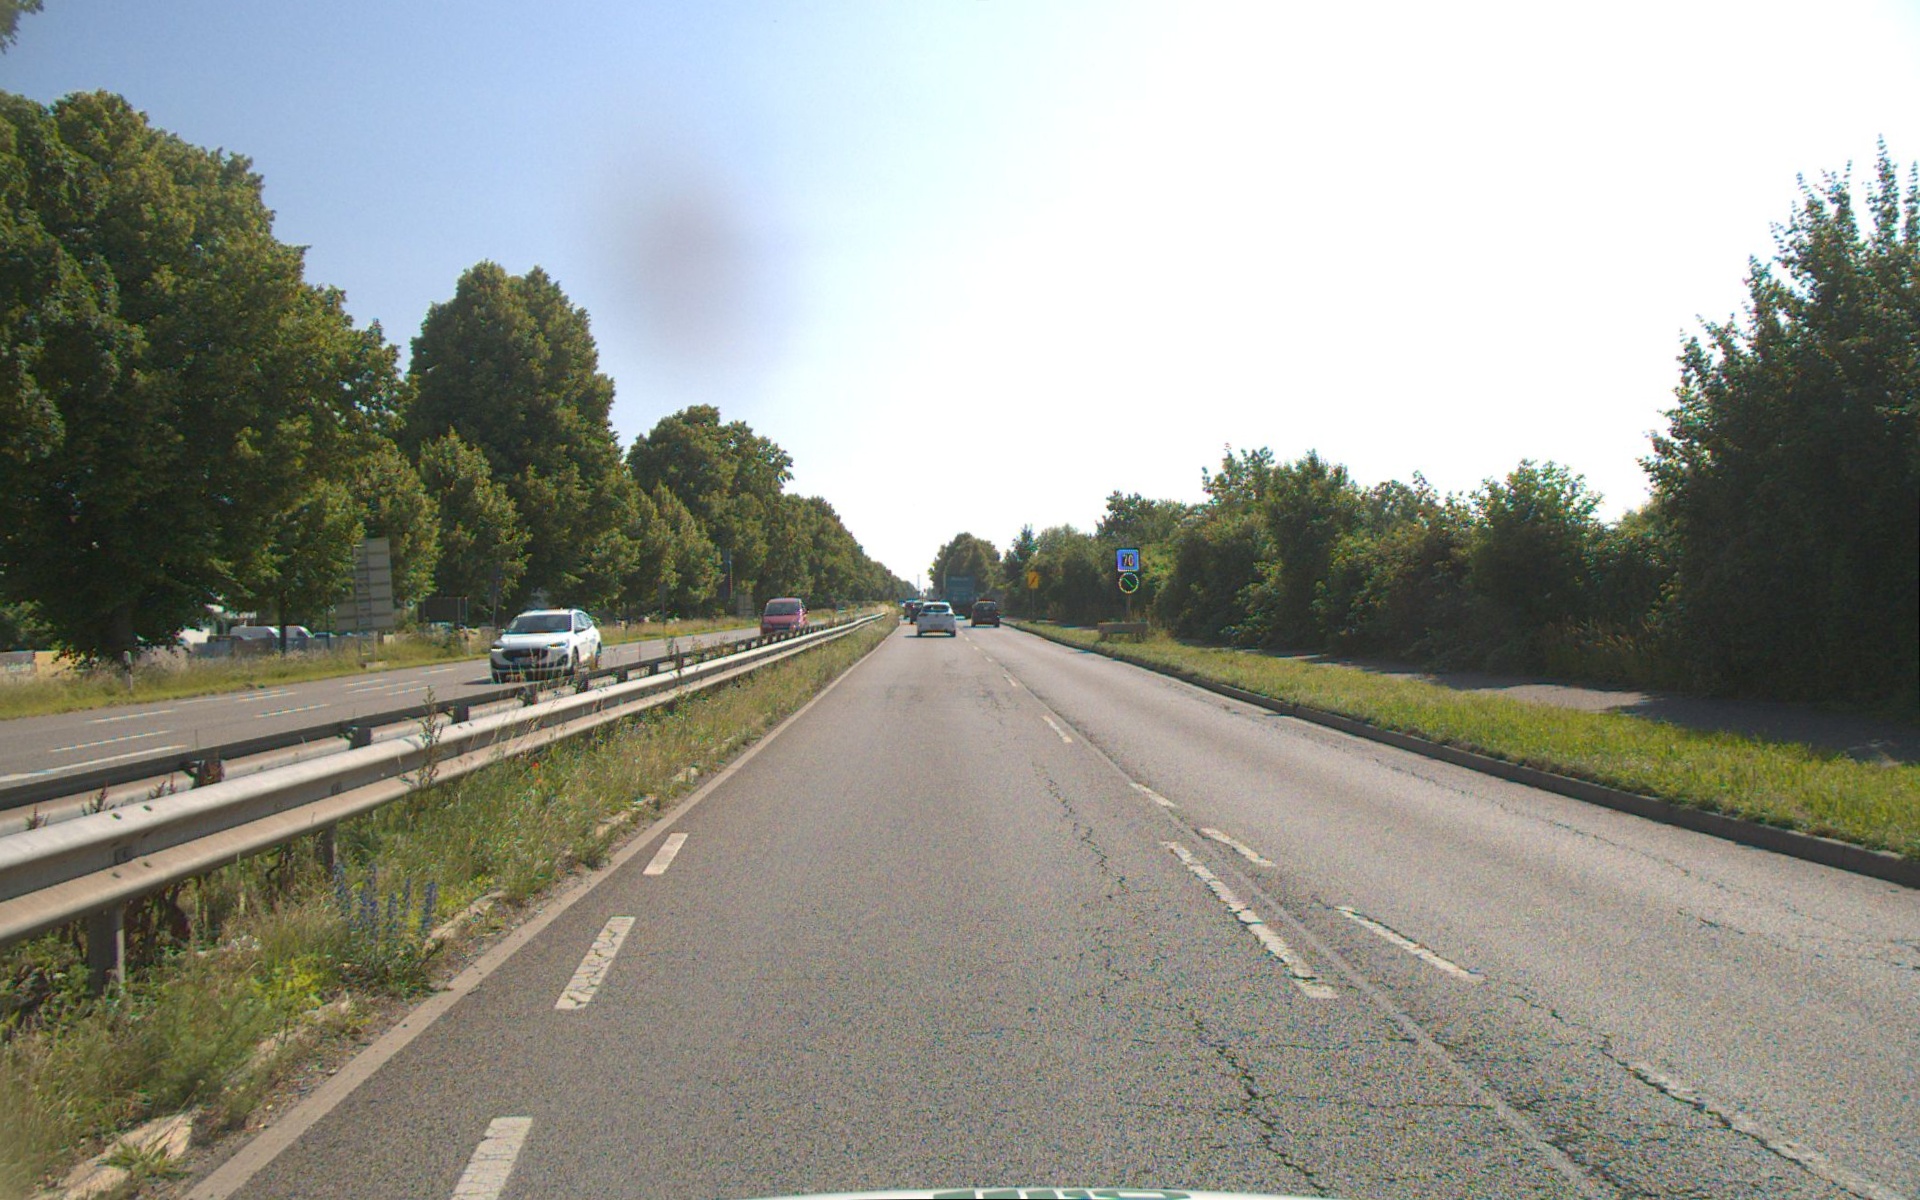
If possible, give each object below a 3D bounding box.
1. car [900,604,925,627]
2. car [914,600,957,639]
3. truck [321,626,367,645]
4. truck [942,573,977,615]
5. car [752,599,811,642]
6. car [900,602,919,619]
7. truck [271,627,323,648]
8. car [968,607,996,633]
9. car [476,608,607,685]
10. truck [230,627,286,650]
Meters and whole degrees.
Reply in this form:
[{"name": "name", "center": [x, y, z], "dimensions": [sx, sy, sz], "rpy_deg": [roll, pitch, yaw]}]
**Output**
[{"name": "car", "center": [-3.175, 1.022, 111.006], "dimensions": [1.540, 1.439, 3.277], "rpy_deg": [-2, 0, -1]}, {"name": "car", "center": [-1.032, 0.816, 71.699], "dimensions": [1.762, 1.580, 4.000], "rpy_deg": [-1, 0, 0]}, {"name": "truck", "center": [-69.540, 3.957, 186.727], "dimensions": [4.410, 2.049, 2.051], "rpy_deg": [-1, -1, -2]}, {"name": "truck", "center": [-0.100, -0.519, 145.792], "dimensions": [2.833, 3.488, 9.167], "rpy_deg": [-2, 0, -1]}, {"name": "car", "center": [-6.728, 0.742, 62.624], "dimensions": [1.874, 1.528, 4.089], "rpy_deg": [-2, 0, -2]}, {"name": "car", "center": [-4.407, 0.938, 145.579], "dimensions": [1.540, 1.439, 3.277], "rpy_deg": [-2, 0, -1]}, {"name": "truck", "center": [-66.922, 3.751, 167.040], "dimensions": [4.410, 2.049, 2.051], "rpy_deg": [-1, -1, -2]}, {"name": "car", "center": [1.258, 1.142, 95.370], "dimensions": [1.540, 1.439, 3.277], "rpy_deg": [-1, -1, -1]}, {"name": "car", "center": [-9.222, 0.979, 36.744], "dimensions": [1.953, 1.528, 4.089], "rpy_deg": [-2, 0, -2]}, {"name": "truck", "center": [-67.128, 3.678, 158.233], "dimensions": [4.410, 2.049, 2.051], "rpy_deg": [-1, -1, -2]}]
